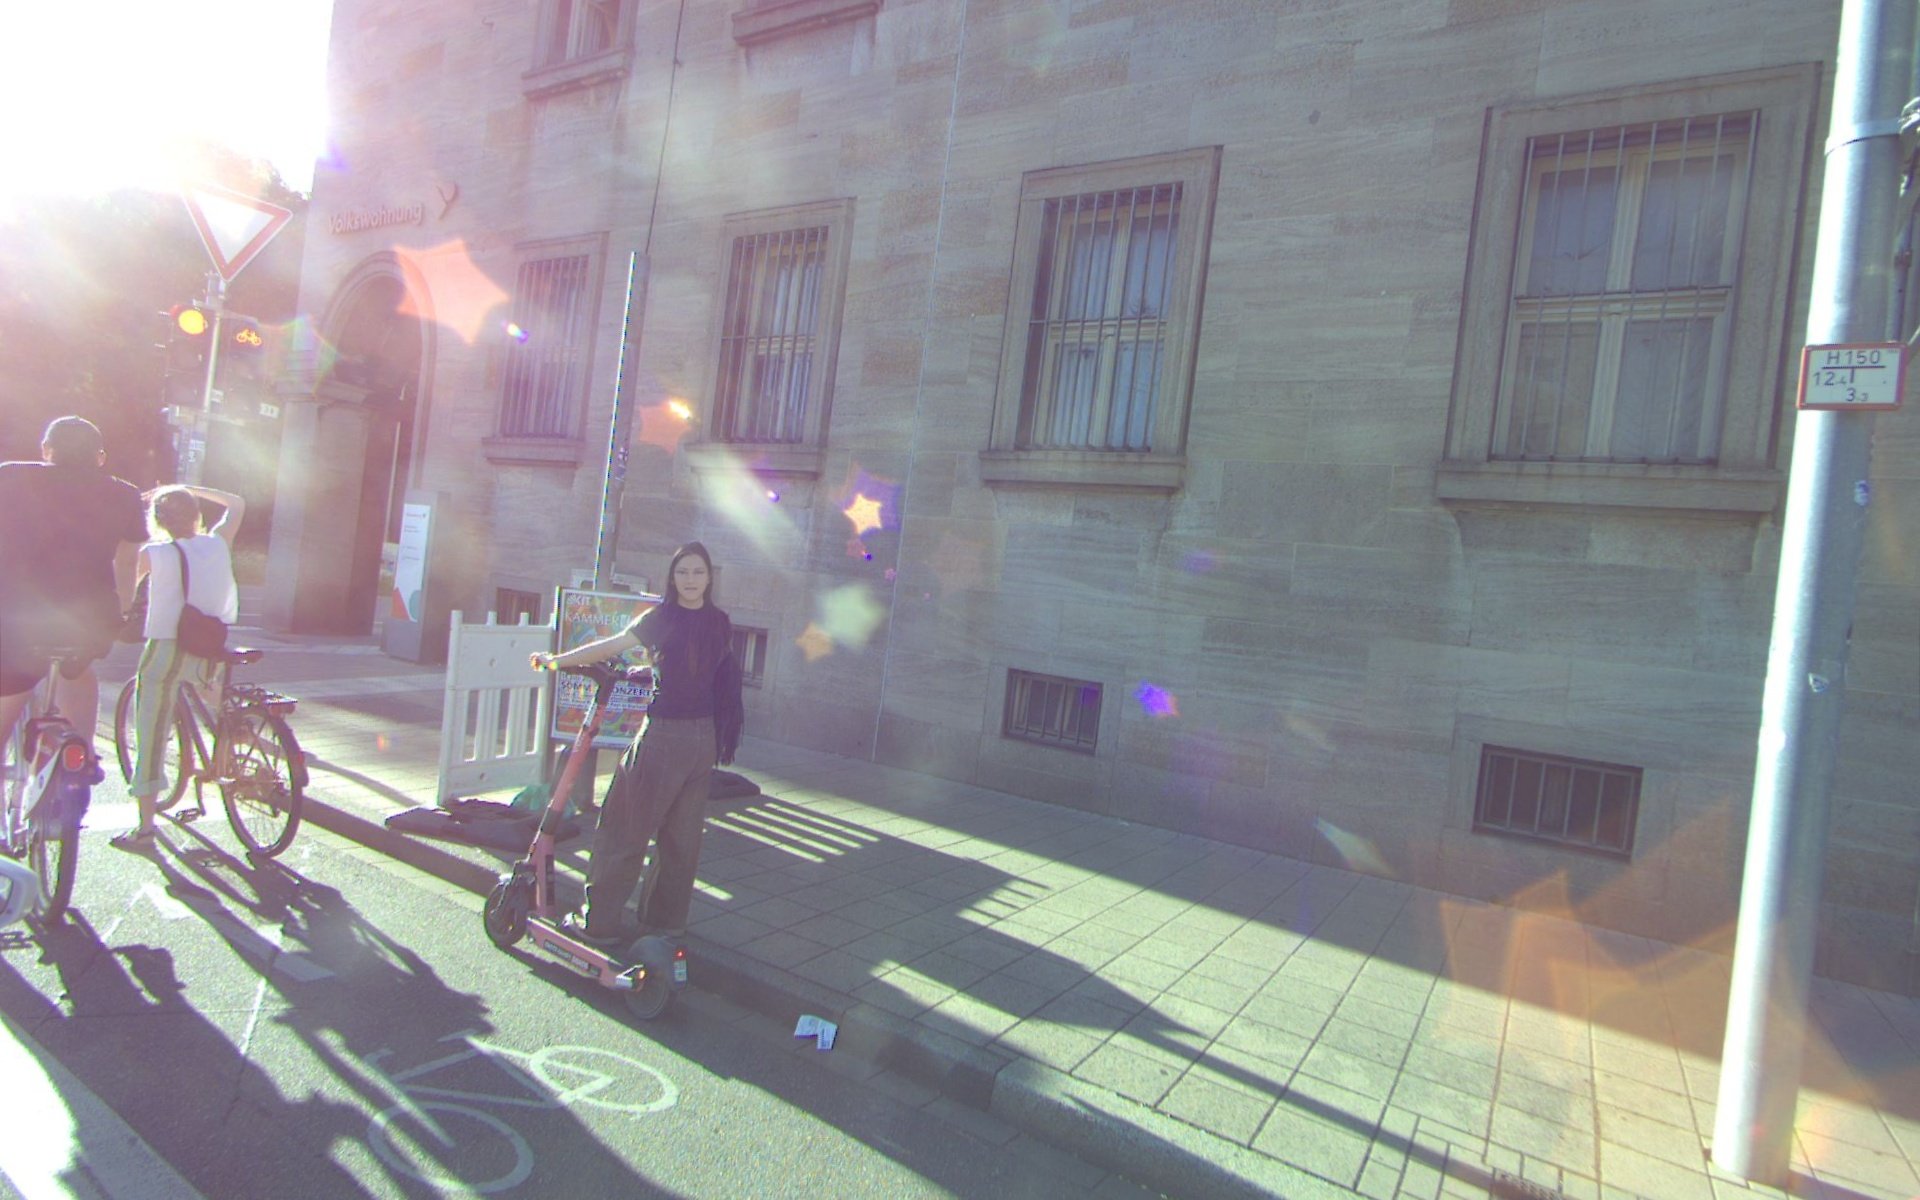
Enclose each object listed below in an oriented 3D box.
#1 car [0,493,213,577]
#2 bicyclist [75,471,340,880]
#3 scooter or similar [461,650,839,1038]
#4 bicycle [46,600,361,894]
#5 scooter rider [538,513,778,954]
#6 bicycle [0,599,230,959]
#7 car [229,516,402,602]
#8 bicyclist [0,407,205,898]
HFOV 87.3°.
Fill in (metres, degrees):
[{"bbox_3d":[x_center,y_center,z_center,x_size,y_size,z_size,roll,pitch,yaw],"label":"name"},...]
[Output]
[{"bbox_3d":[-23.468,-1.745,27.340,1.967,1.533,4.586,6,-2,32],"label":"car"},{"bbox_3d":[-3.633,0.320,4.854,0.934,1.760,0.584,7,0,32],"label":"bicyclist"},{"bbox_3d":[-1.203,0.849,3.891,1.250,1.163,0.574,5,-2,28],"label":"scooter or similar"},{"bbox_3d":[-3.701,0.633,4.875,1.718,1.057,0.582,7,0,33],"label":"bicycle"},{"bbox_3d":[-1.196,0.487,3.984,0.543,1.581,0.569,7,0,-45],"label":"scooter rider"},{"bbox_3d":[-3.712,0.595,3.979,1.717,1.057,0.624,7,0,31],"label":"bicycle"},{"bbox_3d":[-20.267,-1.255,31.795,1.968,2.037,3.994,6,-2,33],"label":"car"},{"bbox_3d":[-3.649,0.174,3.973,0.897,1.736,0.624,7,0,30],"label":"bicyclist"}]
